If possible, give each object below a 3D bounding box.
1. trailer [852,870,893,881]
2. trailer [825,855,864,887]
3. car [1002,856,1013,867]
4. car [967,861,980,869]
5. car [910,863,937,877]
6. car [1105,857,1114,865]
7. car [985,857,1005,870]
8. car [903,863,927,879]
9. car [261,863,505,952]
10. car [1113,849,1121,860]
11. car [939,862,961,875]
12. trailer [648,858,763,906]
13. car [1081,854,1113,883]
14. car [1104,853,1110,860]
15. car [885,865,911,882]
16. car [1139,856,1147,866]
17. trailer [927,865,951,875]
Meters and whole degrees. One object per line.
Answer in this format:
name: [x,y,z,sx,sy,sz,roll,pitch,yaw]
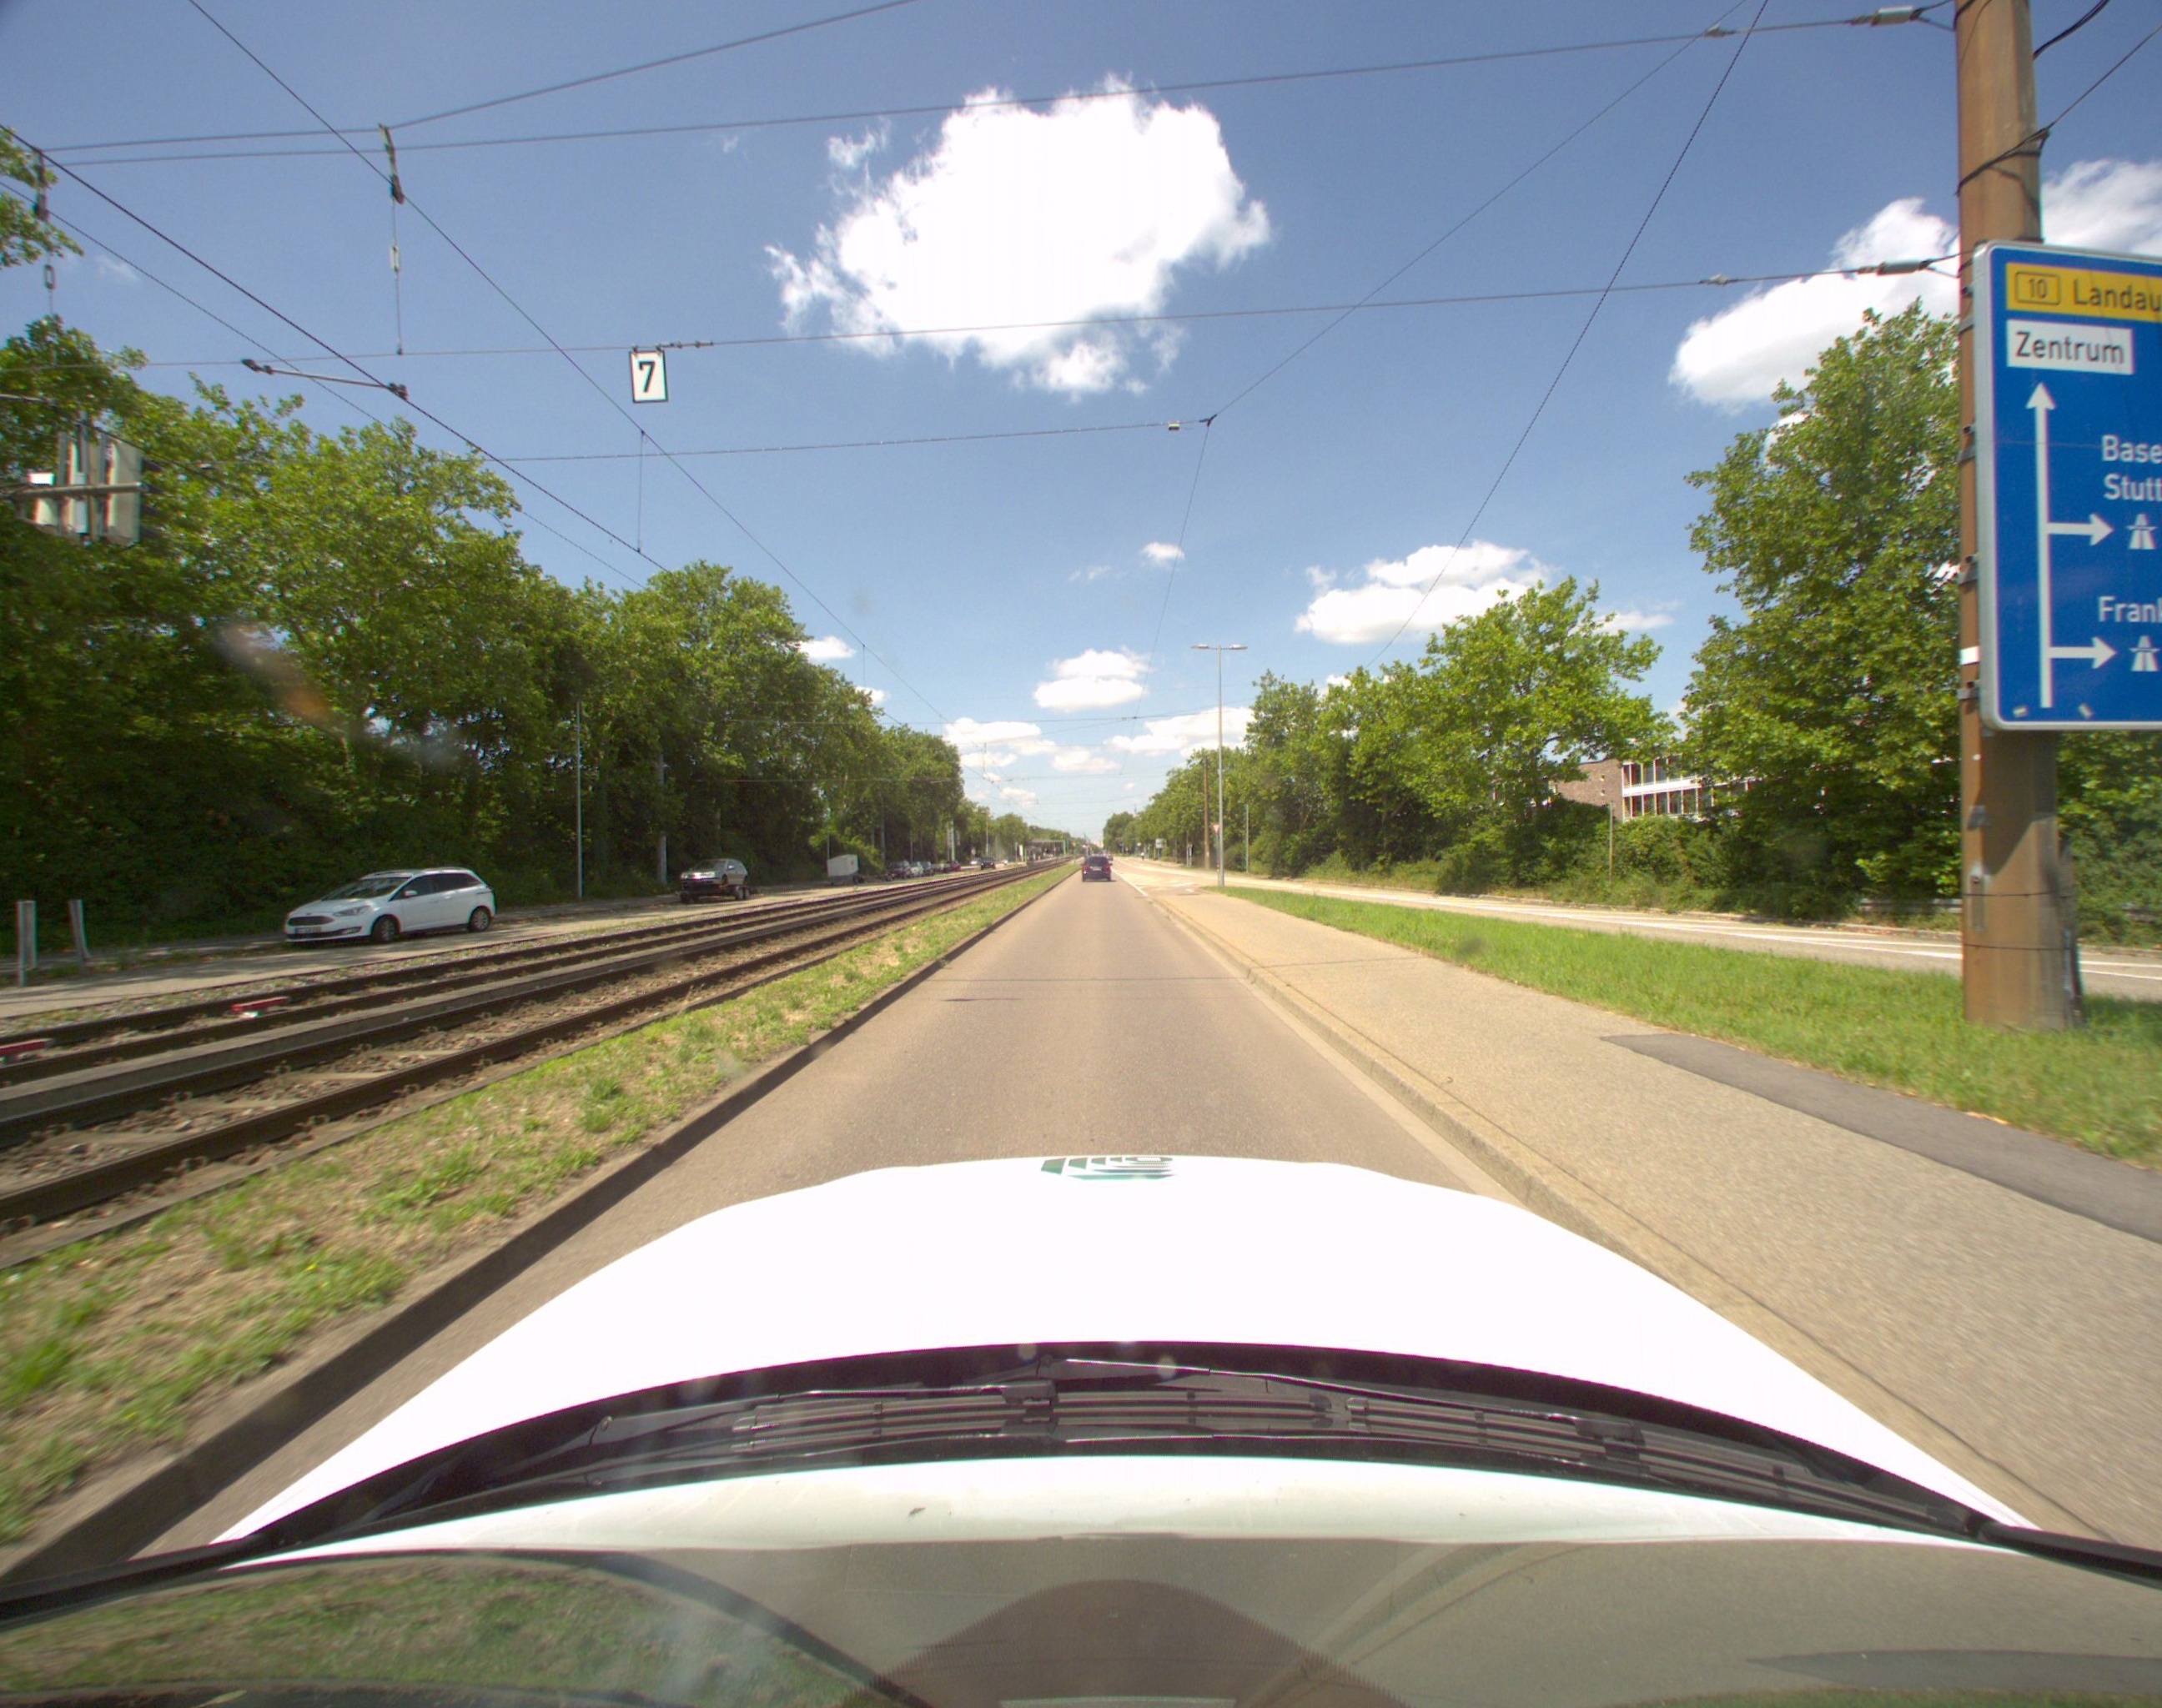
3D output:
trailer: [-15.638,1.613,61.326,1.987,0.742,4.000,-1,-1,1]
trailer: [-16.074,1.121,55.444,1.605,2.013,3.913,0,0,-2]
car: [-13.854,1.341,154.013,1.989,2.013,3.996,0,1,-3]
car: [-21.871,2.166,166.360,1.986,1.574,4.001,0,0,1]
car: [-15.870,1.582,82.245,1.865,1.401,4.416,0,0,-1]
car: [6.536,1.503,186.923,1.877,1.640,4.002,3,1,2]
car: [-12.008,1.288,113.990,2.110,1.790,5.405,0,0,1]
car: [-15.591,1.561,76.613,1.429,1.451,3.739,0,0,-1]
car: [-16.289,1.147,19.421,1.714,1.630,4.616,-4,1,0]
car: [9.188,0.108,208.727,1.986,2.574,4.002,0,1,1]
car: [-16.116,1.761,100.443,1.987,1.574,4.000,0,0,1]
trailer: [-15.926,1.118,34.990,2.456,1.889,5.955,0,0,-3]
car: [1.010,0.869,50.077,1.846,1.570,4.391,0,1,2]
car: [7.544,0.683,238.313,1.780,2.013,4.001,0,1,1]
car: [-15.747,1.666,70.237,1.429,1.451,3.920,0,0,-1]
car: [13.210,1.458,173.154,1.607,2.013,3.440,0,1,1]
trailer: [-15.877,1.787,91.305,1.887,1.044,5.102,0,0,0]
